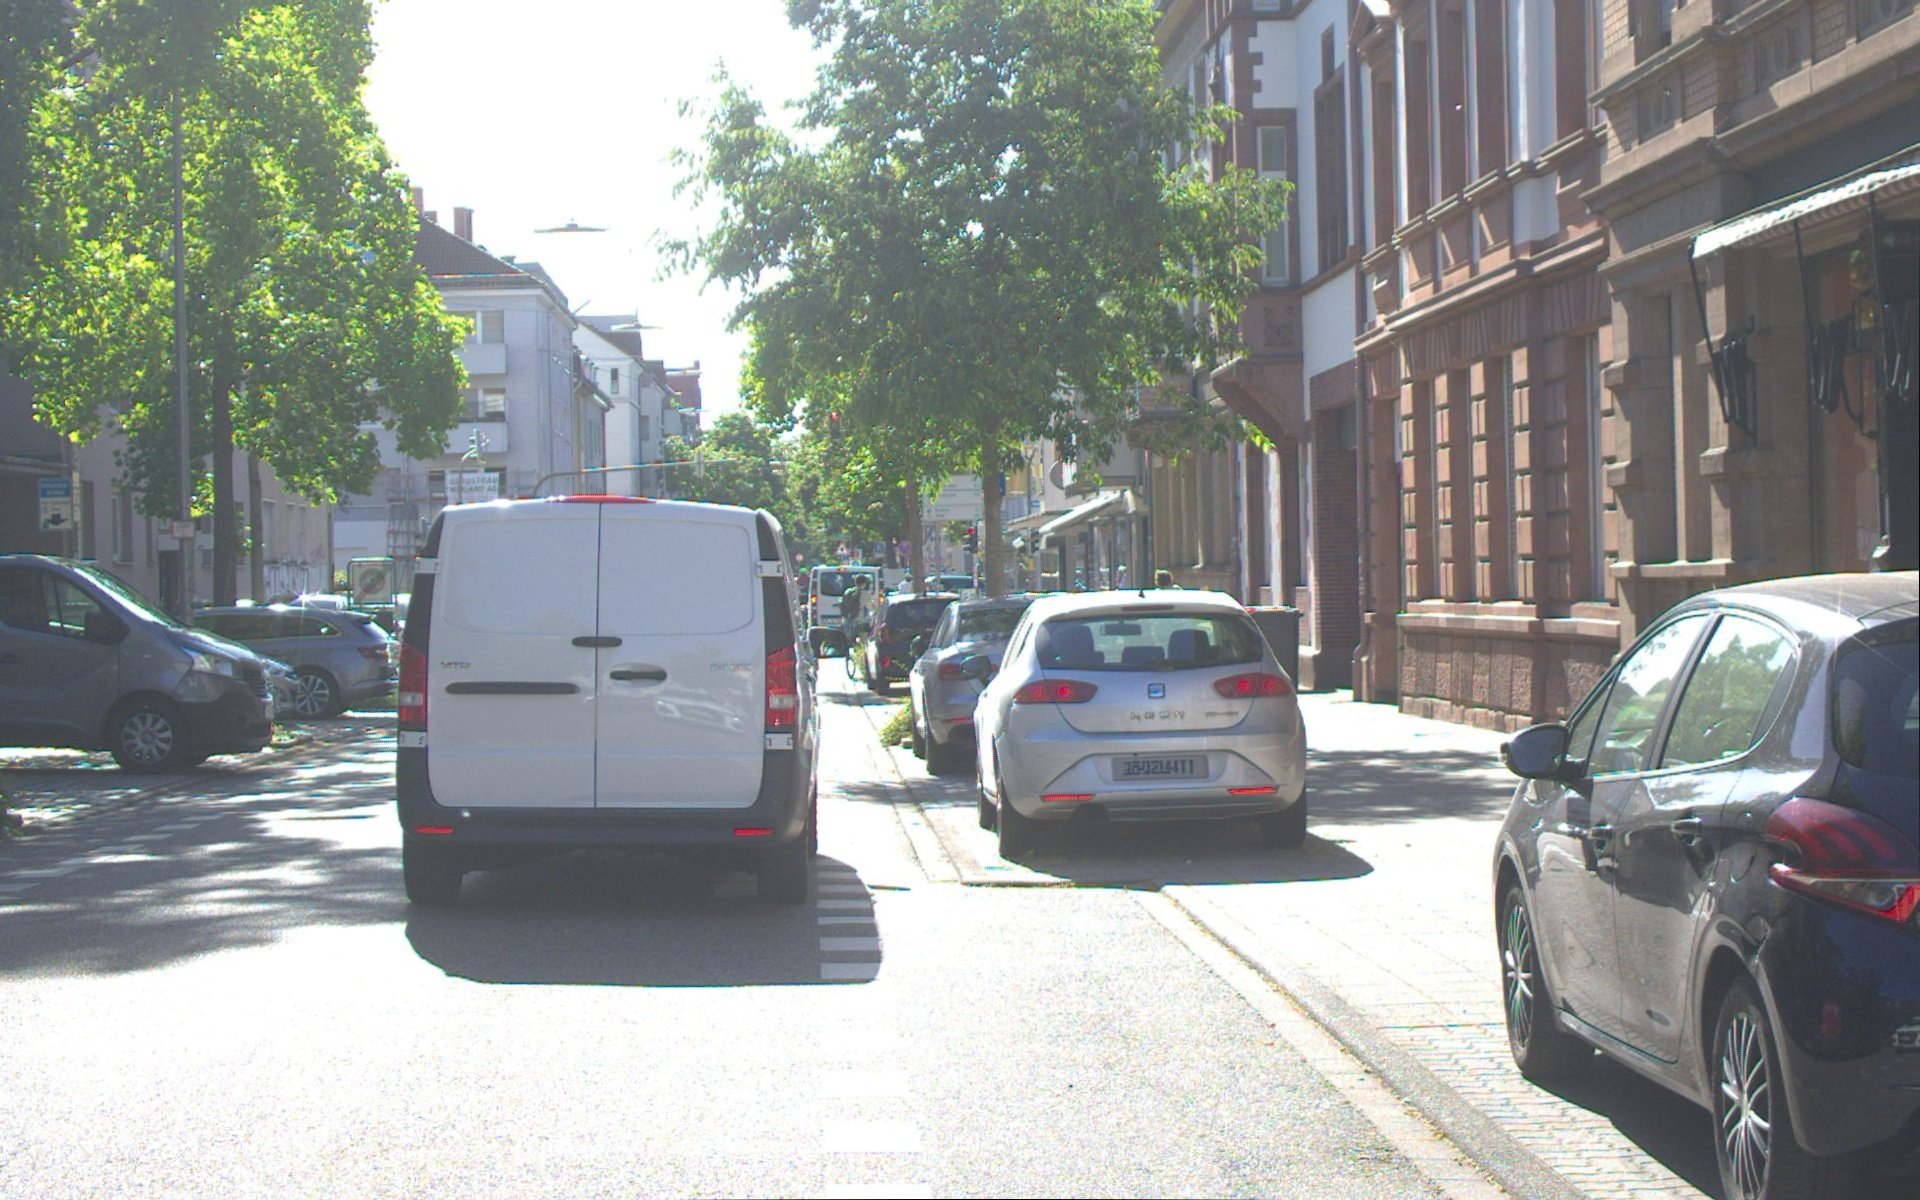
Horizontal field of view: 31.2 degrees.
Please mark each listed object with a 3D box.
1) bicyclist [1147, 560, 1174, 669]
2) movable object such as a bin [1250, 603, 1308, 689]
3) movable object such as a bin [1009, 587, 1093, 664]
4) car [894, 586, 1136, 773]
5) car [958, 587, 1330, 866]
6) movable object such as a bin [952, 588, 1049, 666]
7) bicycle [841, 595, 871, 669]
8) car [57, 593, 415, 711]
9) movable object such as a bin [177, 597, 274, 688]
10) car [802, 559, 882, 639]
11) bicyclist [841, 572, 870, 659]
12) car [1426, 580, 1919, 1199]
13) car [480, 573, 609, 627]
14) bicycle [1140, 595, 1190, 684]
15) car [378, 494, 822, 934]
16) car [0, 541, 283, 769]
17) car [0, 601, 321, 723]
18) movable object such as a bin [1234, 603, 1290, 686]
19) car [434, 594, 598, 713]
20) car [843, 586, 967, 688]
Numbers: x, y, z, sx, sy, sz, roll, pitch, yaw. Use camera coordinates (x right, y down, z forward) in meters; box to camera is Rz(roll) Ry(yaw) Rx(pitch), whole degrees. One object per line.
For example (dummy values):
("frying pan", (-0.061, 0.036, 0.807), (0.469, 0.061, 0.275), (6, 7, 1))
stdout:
("bicyclist", (2.737, 0.193, 46.905), (0.361, 1.472, 0.530), (0, 0, 2))
("movable object such as a bin", (4.028, 0.578, 43.459), (0.638, 1.065, 0.639), (-1, 0, -3))
("movable object such as a bin", (1.633, 0.448, 61.652), (1.040, 1.343, 1.106), (0, 1, 36))
("car", (0.402, 0.623, 29.563), (1.738, 1.446, 4.308), (-1, 0, -3))
("car", (0.984, 0.668, 20.361), (1.738, 1.446, 4.000), (-1, 0, -3))
("movable object such as a bin", (0.711, 0.474, 60.515), (1.268, 1.343, 1.108), (-2, 0, -45))
("bicycle", (-1.825, 0.552, 60.271), (0.475, 1.270, 1.218), (-1, 0, -3))
("car", (-9.427, 0.668, 45.001), (4.305, 1.455, 1.762), (1, 0, 0))
("movable object such as a bin", (-11.916, 0.687, 55.789), (1.231, 1.445, 1.075), (-1, 0, 8))
("car", (-2.991, -0.045, 86.187), (1.815, 1.914, 4.645), (-1, 0, -4))
("bicyclist", (-1.841, 0.266, 60.263), (0.439, 1.503, 0.497), (-2, 1, -3))
("car", (2.399, 0.693, 8.852), (1.709, 1.475, 3.711), (-1, 0, -3))
("car", (-13.061, -0.010, 108.200), (3.986, 1.634, 2.000), (-1, 0, -6))
("bicycle", (2.793, 0.531, 46.960), (0.536, 1.145, 2.124), (-5, 0, 2))
("car", (-1.902, 0.471, 17.448), (1.920, 1.907, 4.889), (0, 1, -8))
("car", (-8.915, 0.460, 30.907), (5.292, 1.967, 2.016), (1, 0, -3))
("car", (-9.970, 0.743, 42.308), (3.986, 1.458, 1.813), (0, 0, -5))
("movable object such as a bin", (3.916, 0.575, 44.611), (0.638, 1.065, 0.632), (-1, 0, -3))
("car", (-5.765, 0.663, 44.979), (1.762, 1.434, 3.961), (-2, 0, -3))
("car", (-0.866, 0.537, 52.424), (1.635, 1.471, 3.581), (-1, 0, -4))
